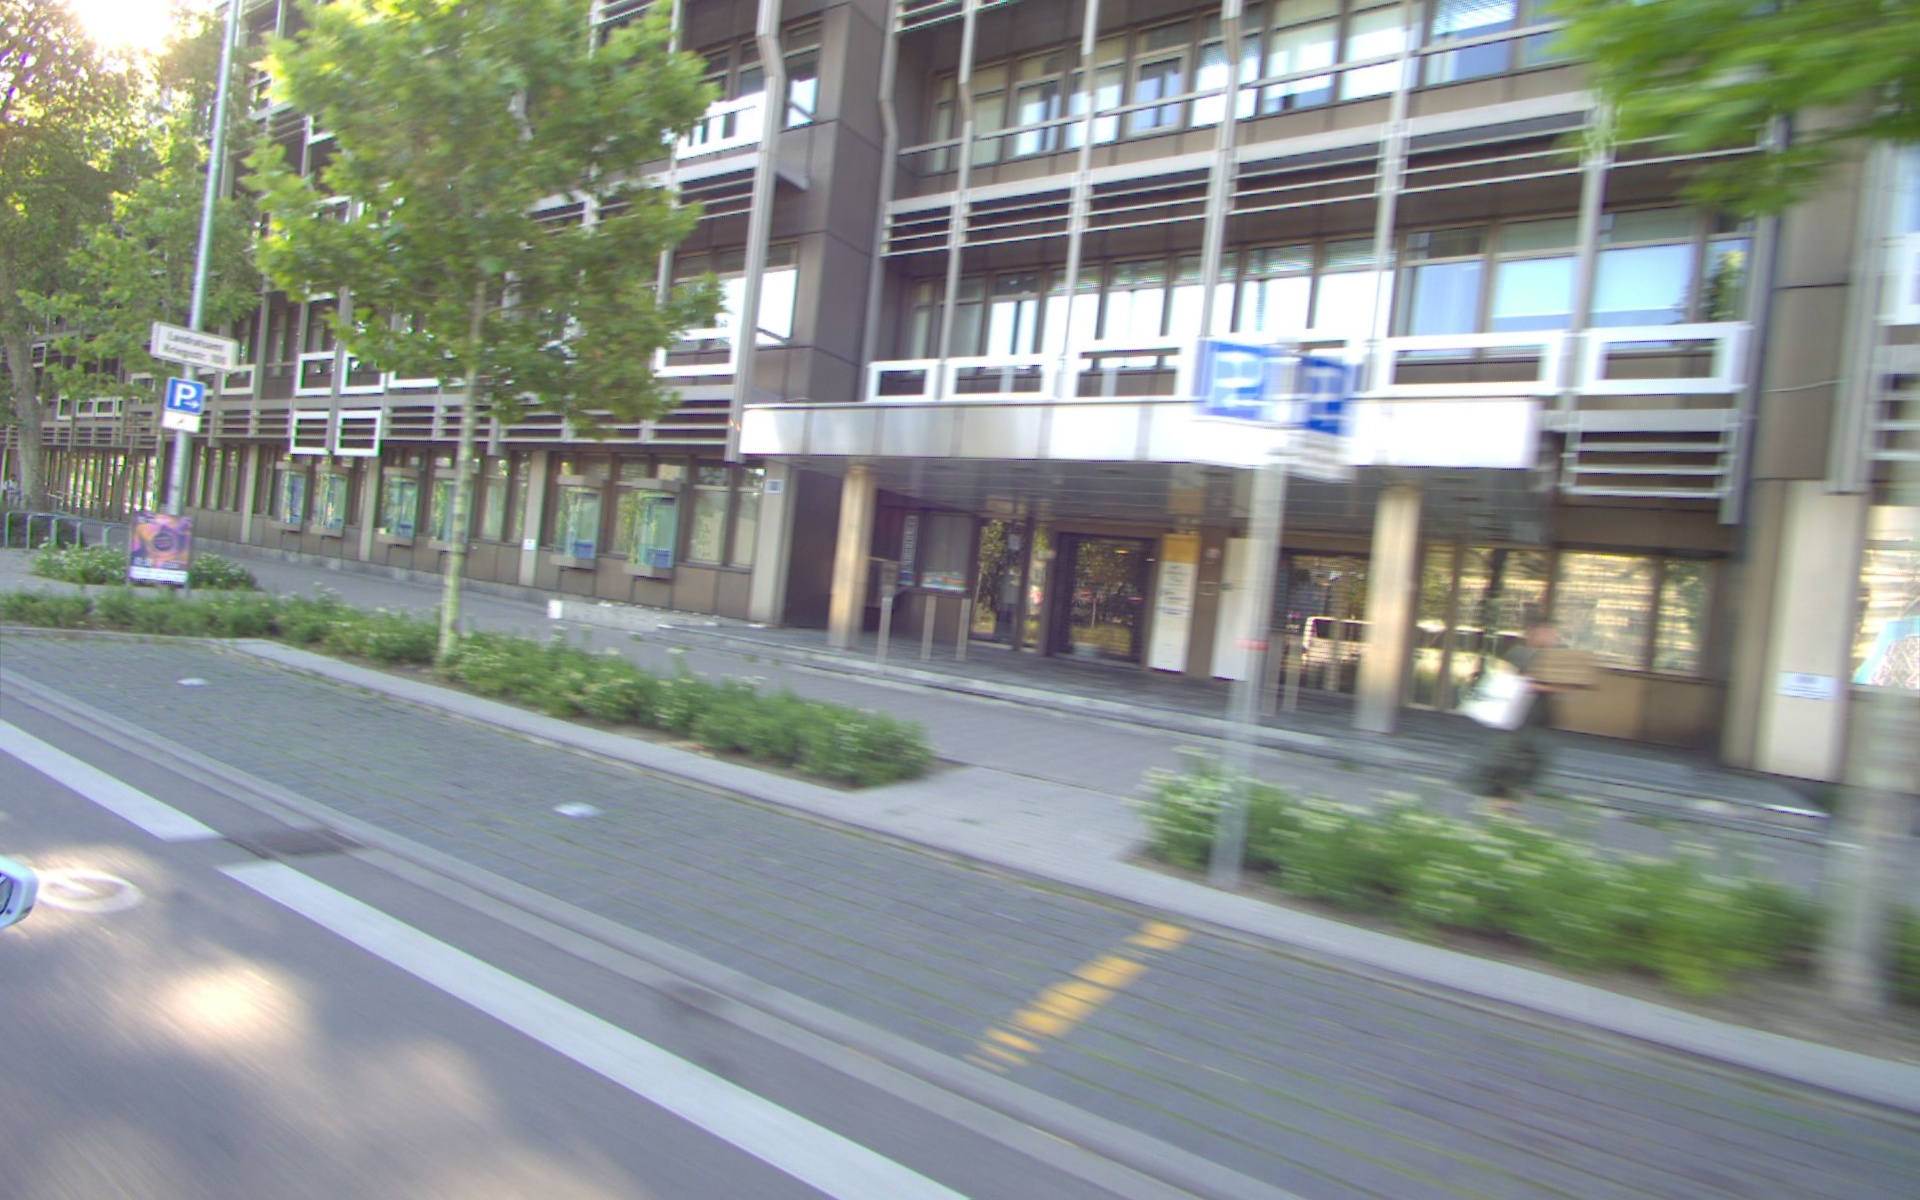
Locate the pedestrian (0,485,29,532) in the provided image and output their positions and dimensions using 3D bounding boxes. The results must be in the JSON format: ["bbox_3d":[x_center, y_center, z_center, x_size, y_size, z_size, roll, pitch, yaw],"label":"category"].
[{"bbox_3d":[-40.785,-3.930,43.238,0.833,1.879,0.832,7,1,33],"label":"pedestrian"}]

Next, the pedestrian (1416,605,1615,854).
[{"bbox_3d":[4.273,0.939,7.755,1.118,1.670,0.789,7,2,32],"label":"pedestrian"}]
